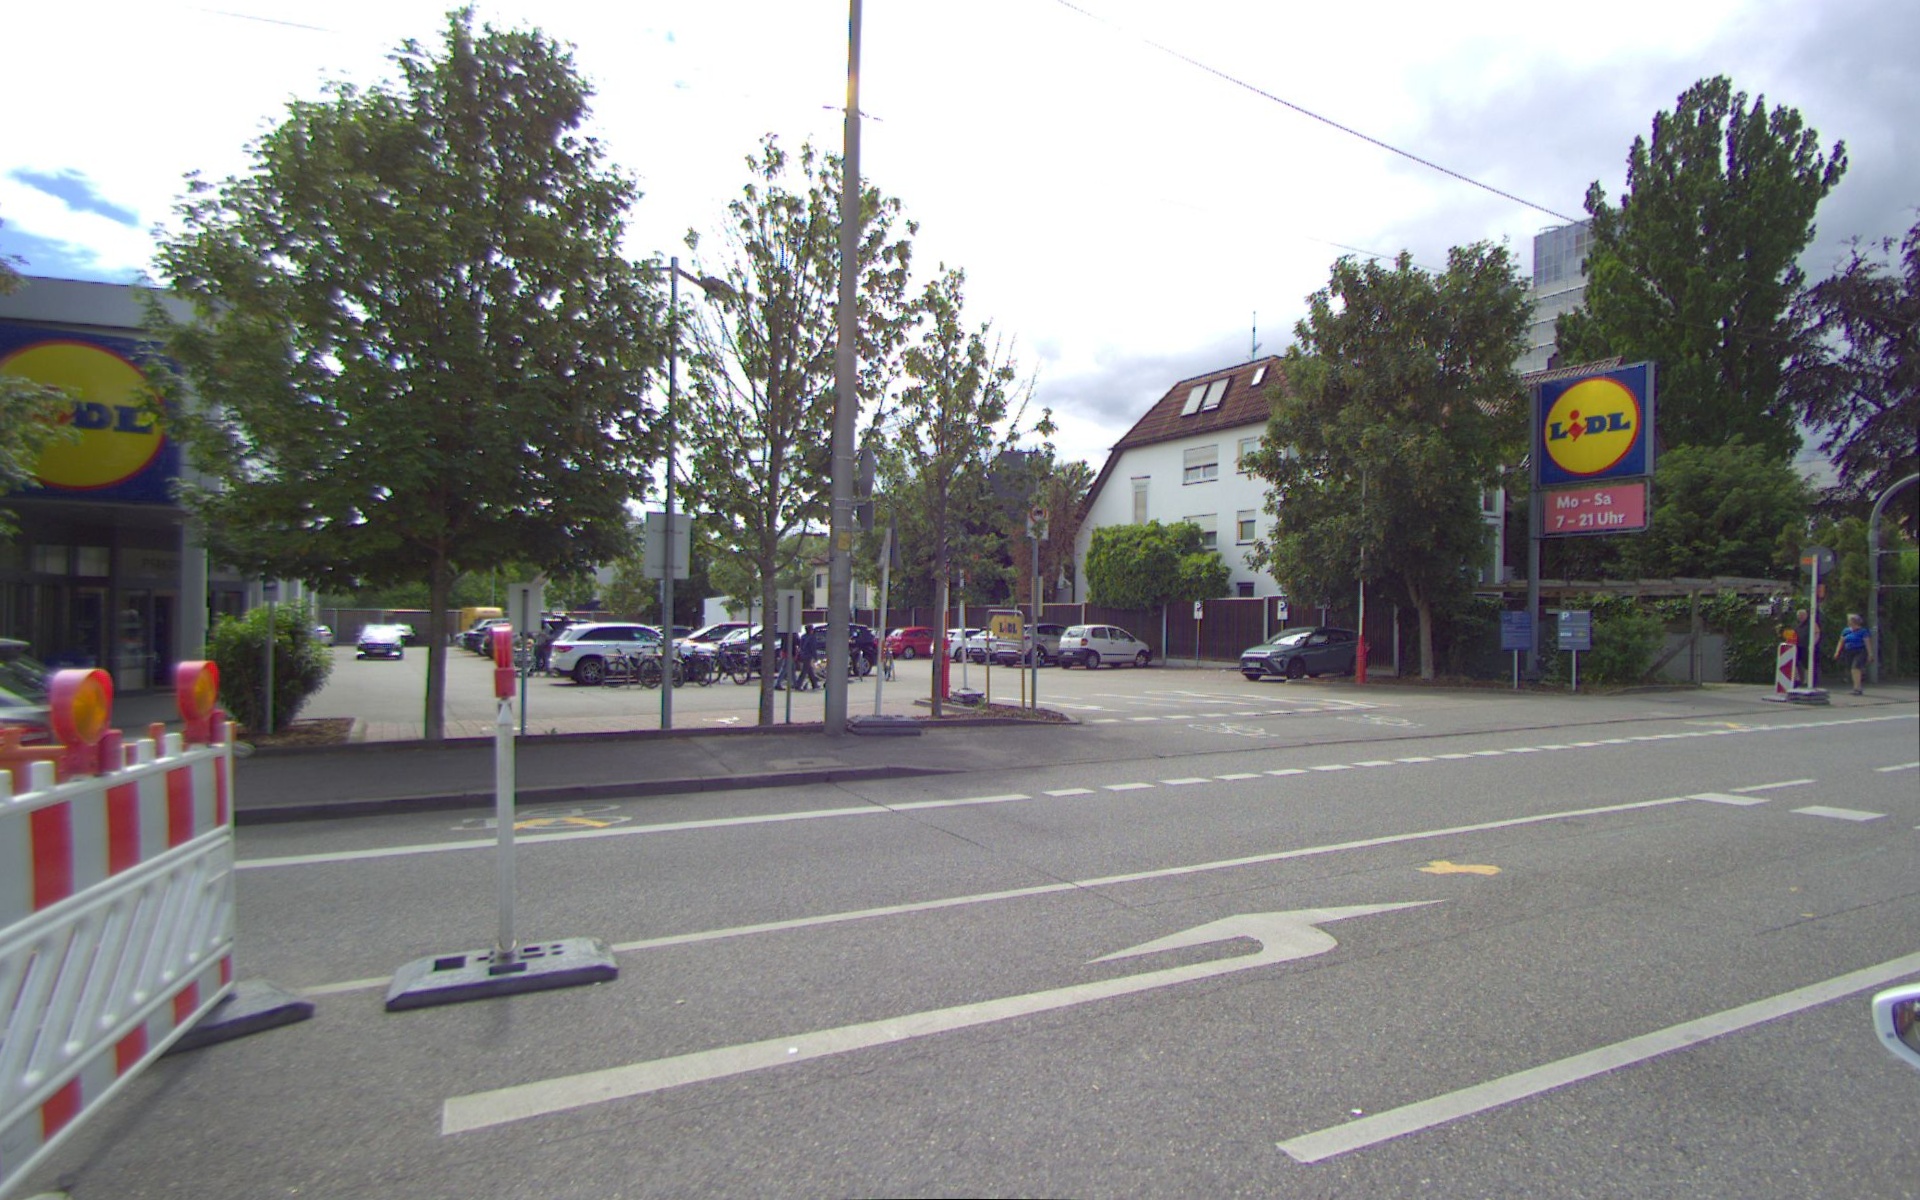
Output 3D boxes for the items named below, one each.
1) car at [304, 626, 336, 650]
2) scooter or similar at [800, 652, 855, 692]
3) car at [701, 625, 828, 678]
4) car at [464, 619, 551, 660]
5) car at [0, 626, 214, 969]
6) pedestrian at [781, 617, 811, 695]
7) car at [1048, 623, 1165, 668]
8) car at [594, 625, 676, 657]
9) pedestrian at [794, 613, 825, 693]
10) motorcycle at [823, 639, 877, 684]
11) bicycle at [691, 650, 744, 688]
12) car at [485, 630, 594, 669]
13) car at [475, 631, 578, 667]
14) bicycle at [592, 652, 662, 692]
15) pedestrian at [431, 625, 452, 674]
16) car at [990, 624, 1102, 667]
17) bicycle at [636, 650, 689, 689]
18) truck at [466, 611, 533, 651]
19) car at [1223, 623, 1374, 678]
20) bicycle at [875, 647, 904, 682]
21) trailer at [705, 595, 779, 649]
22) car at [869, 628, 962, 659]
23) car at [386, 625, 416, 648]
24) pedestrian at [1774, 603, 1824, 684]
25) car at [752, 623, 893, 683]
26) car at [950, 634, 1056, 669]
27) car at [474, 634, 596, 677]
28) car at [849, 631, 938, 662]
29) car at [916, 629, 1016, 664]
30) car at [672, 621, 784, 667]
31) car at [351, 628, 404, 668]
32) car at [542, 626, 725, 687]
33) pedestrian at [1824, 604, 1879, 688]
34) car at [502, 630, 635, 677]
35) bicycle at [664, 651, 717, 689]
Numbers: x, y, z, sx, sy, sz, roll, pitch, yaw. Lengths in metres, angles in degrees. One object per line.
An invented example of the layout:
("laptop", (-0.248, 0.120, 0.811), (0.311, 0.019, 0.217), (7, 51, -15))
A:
("car", (-44.007, 2.575, 69.110), (1.697, 1.595, 3.967), (1, -2, -31))
("scooter or similar", (-3.325, 1.799, 25.287), (1.216, 0.956, 0.650), (0, -1, -32))
("car", (-6.828, 1.763, 35.080), (3.952, 1.718, 1.985), (0, -2, -29))
("car", (-27.454, 2.362, 60.965), (4.644, 2.427, 1.984), (1, -1, -30))
("car", (-6.129, 0.906, 4.675), (3.946, 1.533, 1.849), (0, -1, -25))
("pedestrian", (-4.017, 1.373, 24.666), (0.605, 1.884, 0.418), (0, -1, -32))
("car", (5.398, 1.640, 36.948), (3.957, 1.572, 1.982), (1, -2, -33))
("car", (-17.665, 2.204, 54.554), (3.952, 1.605, 1.985), (0, -2, -29))
("pedestrian", (-3.615, 1.260, 24.138), (0.605, 1.884, 0.418), (0, -1, -32))
("motorcycle", (-3.077, 1.709, 28.378), (0.844, 1.208, 1.957), (-1, -2, 15))
("bicycle", (-6.611, 1.871, 27.352), (1.856, 0.970, 0.347), (-2, -2, 39))
("car", (-18.654, 2.161, 44.615), (4.263, 1.593, 1.984), (1, -2, -30))
("car", (-20.295, 2.260, 47.072), (4.263, 1.593, 1.984), (1, -2, -30))
("bicycle", (-8.461, 1.823, 25.524), (1.847, 0.970, 0.349), (-1, -1, 18))
("pedestrian", (-17.318, 1.649, 33.565), (0.600, 1.638, 0.502), (1, -1, -30))
("car", (3.331, 1.722, 38.688), (3.957, 1.572, 1.982), (1, -2, -33))
("bicycle", (-7.815, 1.795, 26.304), (1.856, 0.970, 0.347), (-2, -2, 39))
("truck", (-33.387, 2.253, 72.913), (4.263, 2.807, 1.984), (1, -1, -30))
("car", (9.737, 1.406, 28.866), (3.952, 1.472, 1.985), (0, -2, -29))
("bicycle", (-2.052, 1.857, 29.063), (0.309, 0.970, 1.648), (0, -1, -22))
("trailer", (-15.033, 1.528, 68.897), (3.317, 3.532, 6.130), (0, -2, -30))
("car", (-2.102, 2.037, 47.720), (3.957, 1.416, 1.982), (1, -2, -33))
("car", (-39.885, 2.597, 71.646), (1.697, 1.595, 3.967), (1, -2, -31))
("pedestrian", (19.974, 1.028, 23.916), (0.698, 1.879, 0.678), (1, -1, -29))
("car", (-4.312, 1.620, 31.533), (3.952, 1.718, 1.985), (0, -2, -29))
("car", (1.772, 2.086, 41.125), (3.957, 1.305, 1.982), (1, -2, -33))
("car", (-16.809, 2.142, 39.765), (4.263, 1.593, 1.984), (1, -2, -30))
("car", (-3.290, 2.281, 49.641), (3.957, 1.416, 1.982), (1, -2, -33))
("car", (0.261, 1.995, 43.664), (3.957, 1.416, 1.982), (1, -2, -33))
("car", (-9.186, 1.704, 39.763), (3.952, 1.718, 1.985), (0, -2, -29))
("car", (-25.993, 2.086, 44.782), (1.977, 1.706, 3.967), (1, -2, -31))
("car", (-9.151, 1.531, 28.271), (4.618, 1.593, 1.984), (1, -2, -30))
("pedestrian", (20.458, 1.040, 23.058), (0.881, 1.879, 0.678), (1, -1, -29))
("car", (-14.208, 1.888, 36.504), (4.263, 1.593, 1.984), (1, -2, -30))
("bicycle", (-7.209, 1.848, 26.827), (1.856, 0.970, 0.347), (-2, -2, 39))
